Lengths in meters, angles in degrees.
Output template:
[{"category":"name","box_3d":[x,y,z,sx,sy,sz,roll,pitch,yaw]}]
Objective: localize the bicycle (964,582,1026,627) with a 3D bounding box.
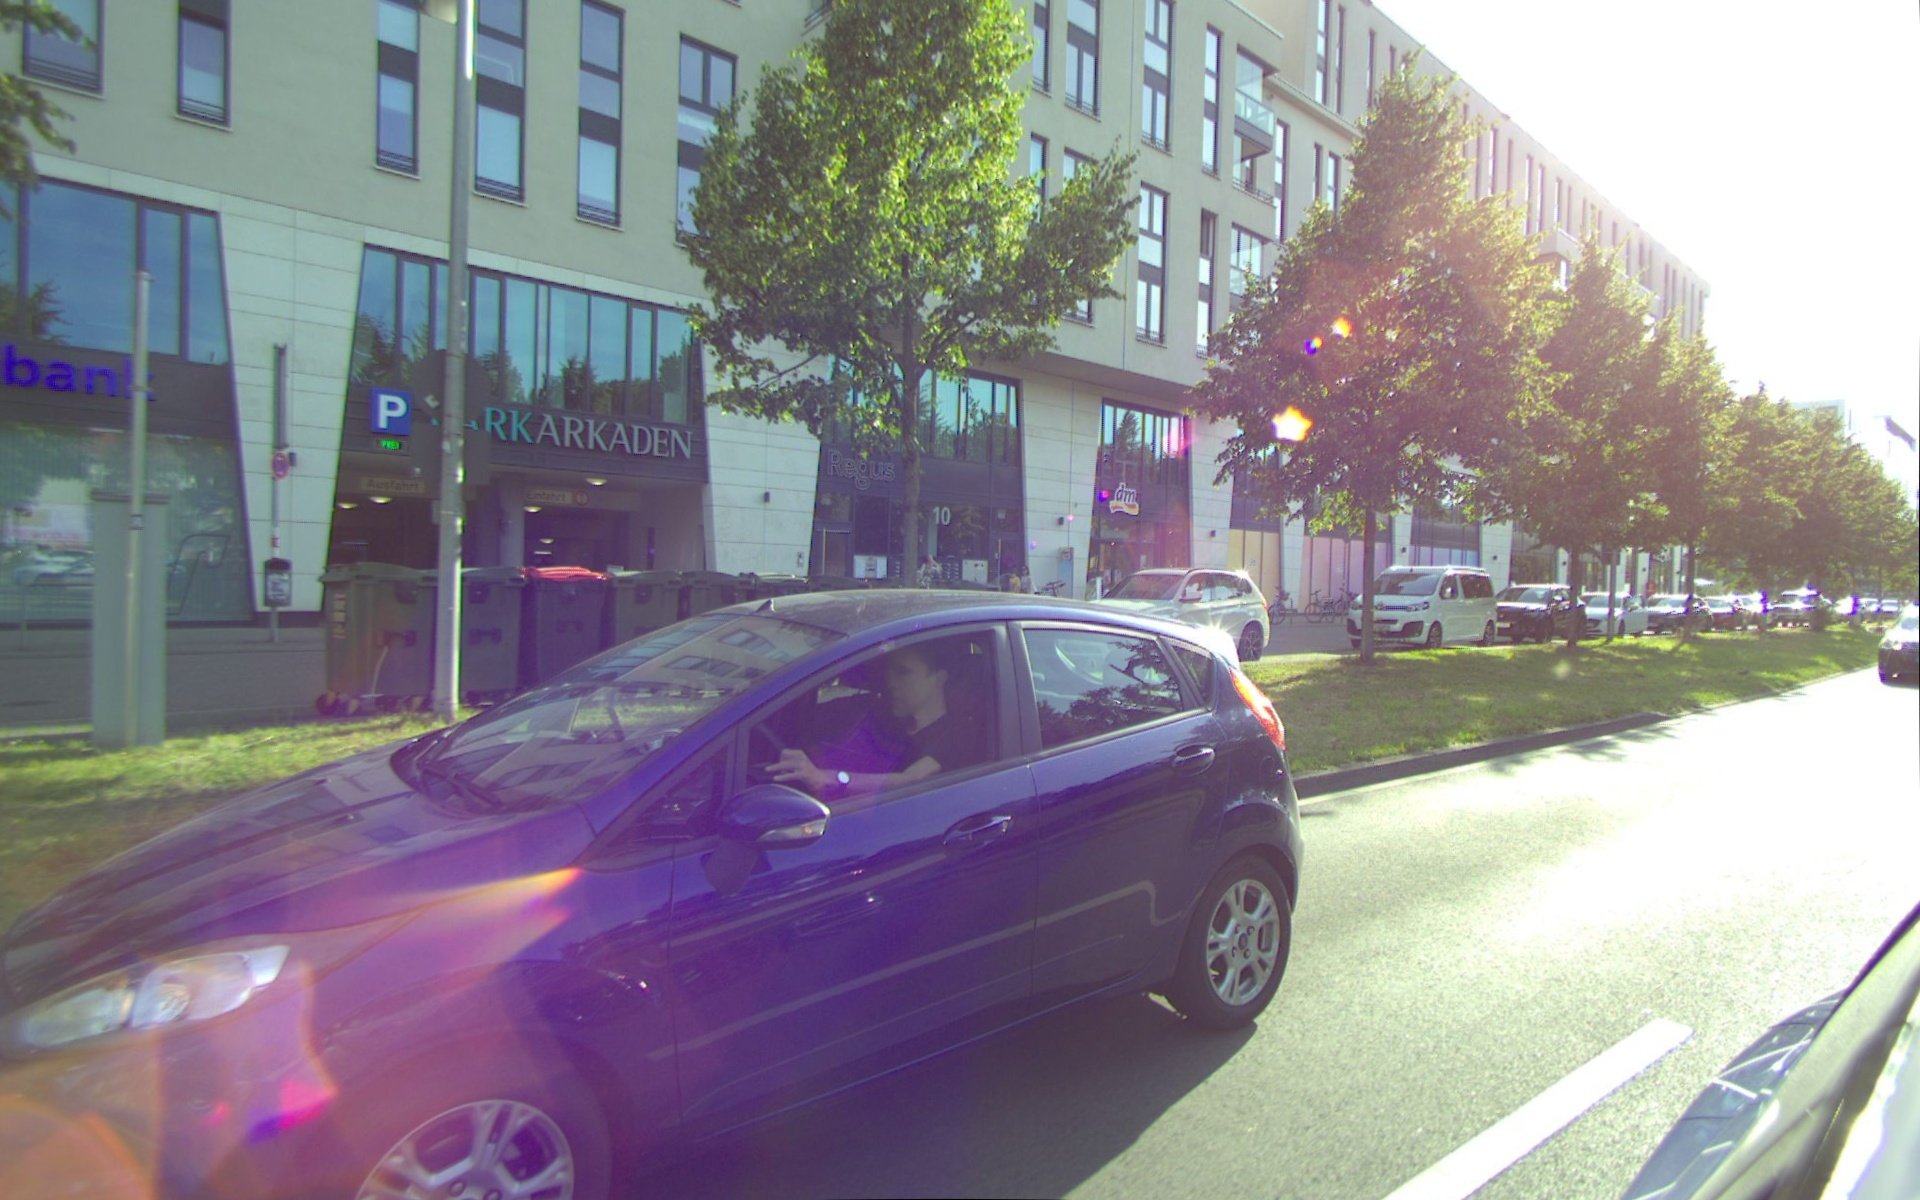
[{"category":"bicycle","box_3d":[0.844,0.096,24.680,1.485,1.088,0.348,0,0,1]}]

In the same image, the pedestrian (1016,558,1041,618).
[{"category":"pedestrian","box_3d":[1.860,-0.316,27.397,0.511,1.594,0.534,0,0,30]}]

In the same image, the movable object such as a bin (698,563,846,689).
[{"category":"movable object such as a bin","box_3d":[-2.161,0.269,11.588,1.172,1.334,1.278,0,0,-44]}]

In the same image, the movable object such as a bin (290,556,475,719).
[{"category":"movable object such as a bin","box_3d":[-5.137,0.293,8.988,1.159,1.307,1.278,0,0,-44]}]

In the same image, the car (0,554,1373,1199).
[{"category":"car","box_3d":[-0.447,0.635,3.225,3.835,1.442,1.564,0,0,-38]}]

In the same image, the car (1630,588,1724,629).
[{"category":"car","box_3d":[26.751,0.284,37.704,4.638,1.450,1.732,-1,0,-40]}]

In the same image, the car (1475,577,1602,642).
[{"category":"car","box_3d":[16.143,0.215,28.164,4.263,1.671,1.731,-1,0,-40]}]

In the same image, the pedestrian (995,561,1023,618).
[{"category":"pedestrian","box_3d":[1.344,-0.293,27.796,0.587,1.541,0.514,0,0,-41]}]

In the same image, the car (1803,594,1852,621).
[{"category":"car","box_3d":[49.796,0.397,58.072,4.140,1.507,1.761,-1,0,-44]}]

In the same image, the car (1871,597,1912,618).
[{"category":"car","box_3d":[70.082,0.529,76.124,4.253,1.549,1.838,-1,0,-41]}]

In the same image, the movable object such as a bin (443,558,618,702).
[{"category":"movable object such as a bin","box_3d":[-4.098,0.251,9.650,1.172,1.252,1.278,0,0,-44]}]

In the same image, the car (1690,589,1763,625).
[{"category":"car","box_3d":[32.277,0.254,42.566,4.044,1.450,1.731,-1,0,-42]}]

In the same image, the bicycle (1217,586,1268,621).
[{"category":"bicycle","box_3d":[8.747,0.100,31.310,2.008,1.012,0.419,0,5,-41]}]

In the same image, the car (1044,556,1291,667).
[{"category":"car","box_3d":[3.701,0.143,17.453,4.769,1.650,1.732,0,2,-44]}]

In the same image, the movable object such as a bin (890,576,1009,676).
[{"category":"movable object such as a bin","box_3d":[-0.171,0.317,13.528,1.307,1.252,1.406,0,0,-14]}]

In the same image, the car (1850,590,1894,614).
[{"category":"car","box_3d":[62.355,0.108,69.144,4.253,1.618,1.763,-1,0,-41]}]

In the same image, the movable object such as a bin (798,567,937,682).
[{"category":"movable object such as a bin","box_3d":[-1.143,0.272,12.439,1.172,1.318,1.278,0,0,-44]}]

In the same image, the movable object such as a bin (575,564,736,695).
[{"category":"movable object such as a bin","box_3d":[-3.179,0.278,10.557,1.172,1.252,1.278,0,0,-44]}]

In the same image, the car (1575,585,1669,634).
[{"category":"car","box_3d":[20.903,0.259,31.896,4.098,1.430,1.617,-1,0,-44]}]

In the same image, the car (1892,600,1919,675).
[{"category":"car","box_3d":[20.470,0.736,20.679,3.969,1.442,1.697,-1,0,-41]}]

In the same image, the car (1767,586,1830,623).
[{"category":"car","box_3d":[44.906,0.189,54.186,4.761,1.898,1.897,-1,0,-42]}]

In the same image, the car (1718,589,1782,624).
[{"category":"car","box_3d":[36.456,0.261,46.636,1.868,1.510,4.344,0,1,44]}]

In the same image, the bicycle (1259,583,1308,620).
[{"category":"bicycle","box_3d":[10.502,0.037,32.796,2.072,1.112,0.420,0,5,-41]}]

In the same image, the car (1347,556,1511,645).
[{"category":"car","box_3d":[11.156,-0.021,23.895,4.948,1.899,1.839,-1,0,-44]}]

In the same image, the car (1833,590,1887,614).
[{"category":"car","box_3d":[57.722,0.086,64.889,4.829,1.507,1.764,-1,0,-38]}]
